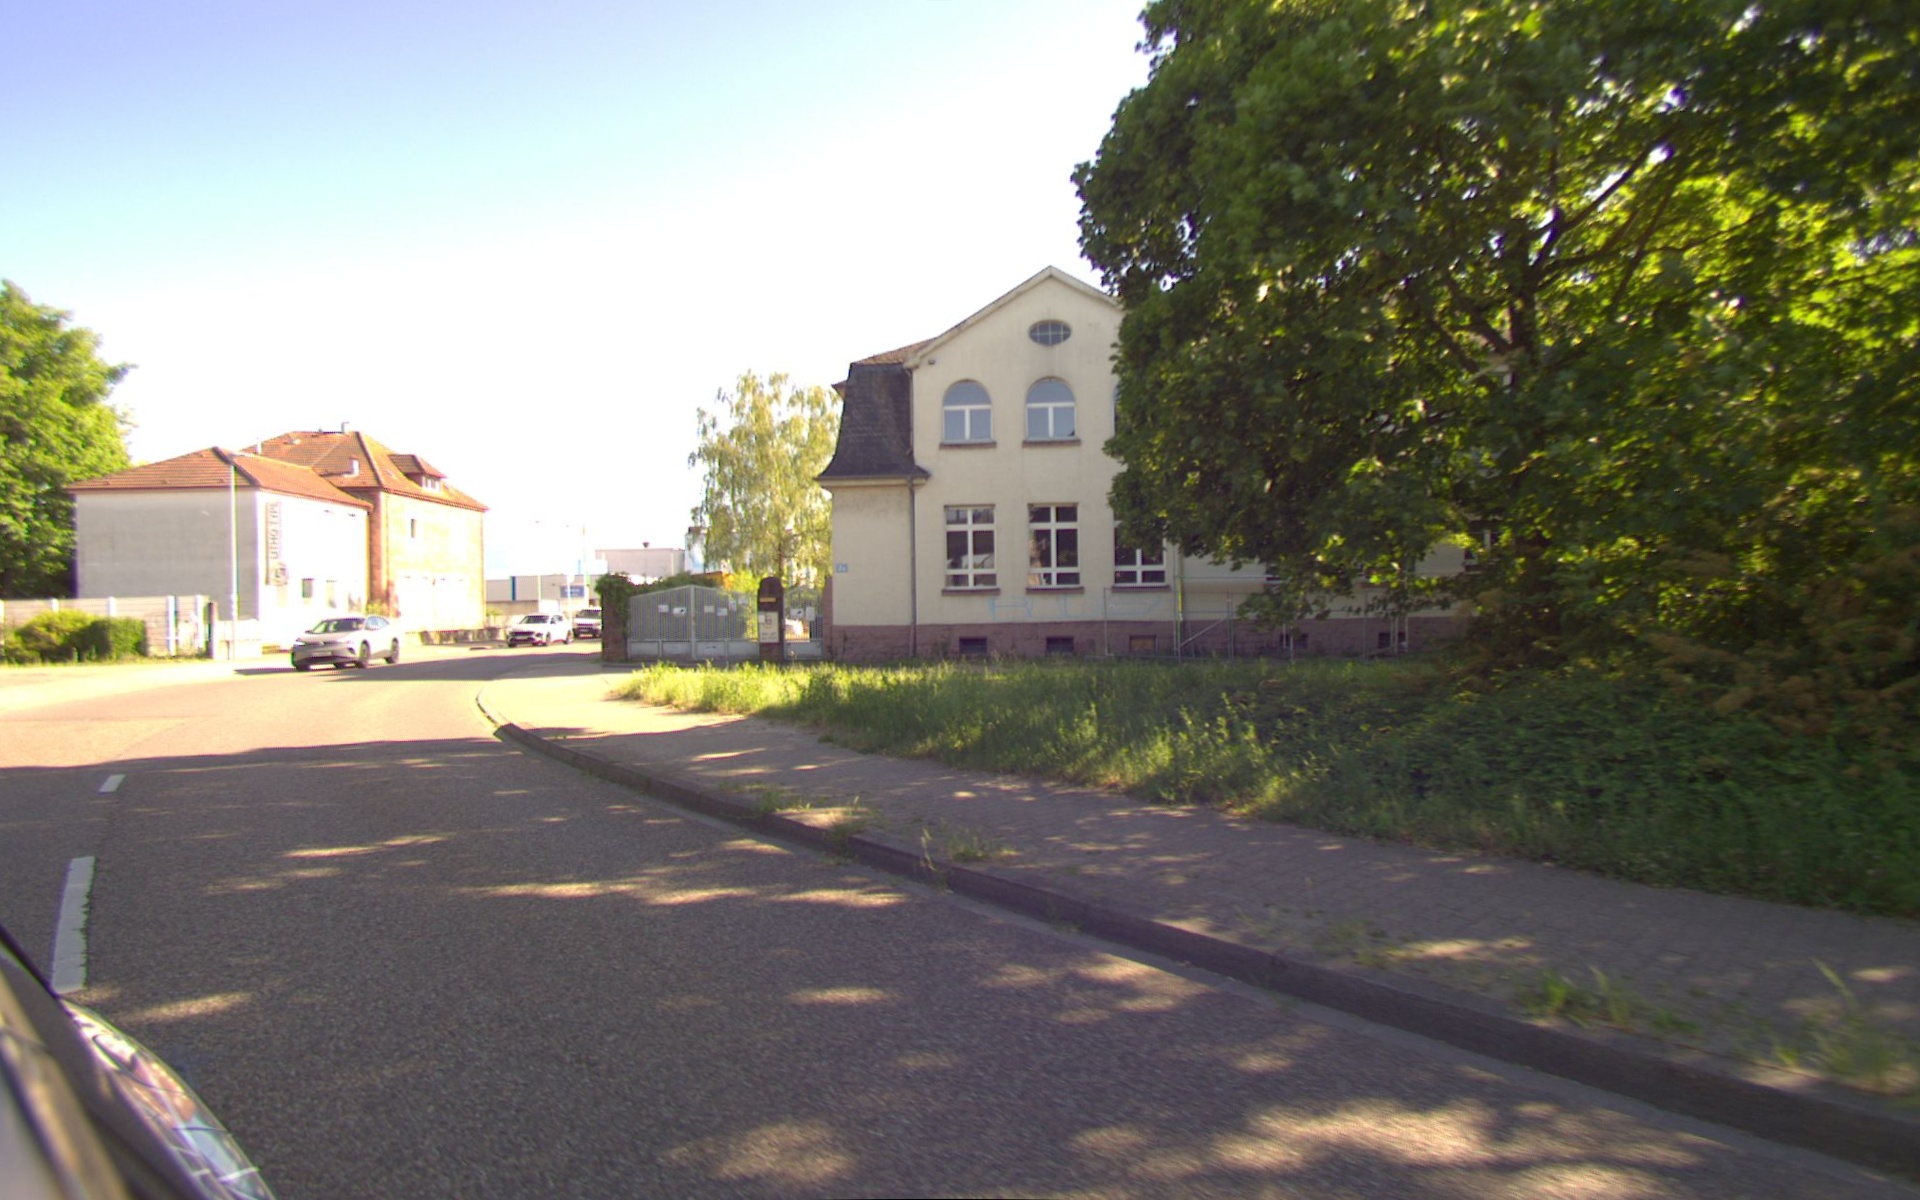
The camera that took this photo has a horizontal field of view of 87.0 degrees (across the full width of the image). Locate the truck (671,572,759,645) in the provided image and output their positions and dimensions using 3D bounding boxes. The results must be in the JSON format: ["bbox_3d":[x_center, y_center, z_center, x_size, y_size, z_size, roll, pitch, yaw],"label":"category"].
[{"bbox_3d":[-13.826,0.507,57.803,2.811,3.646,8.006,-6,-1,-1],"label":"truck"}]

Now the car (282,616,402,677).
[{"bbox_3d":[-18.771,1.369,30.956,1.821,1.643,4.306,-2,0,-13],"label":"car"}]

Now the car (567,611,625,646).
[{"bbox_3d":[-22.884,1.762,63.816,1.826,2.029,4.713,-4,-1,0],"label":"car"}]

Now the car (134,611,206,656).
[{"bbox_3d":[-33.202,1.387,42.486,1.970,1.791,4.370,0,-1,-43],"label":"car"}]

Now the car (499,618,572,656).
[{"bbox_3d":[-19.909,1.707,47.654,1.824,1.643,4.297,0,-1,-2],"label":"car"}]
